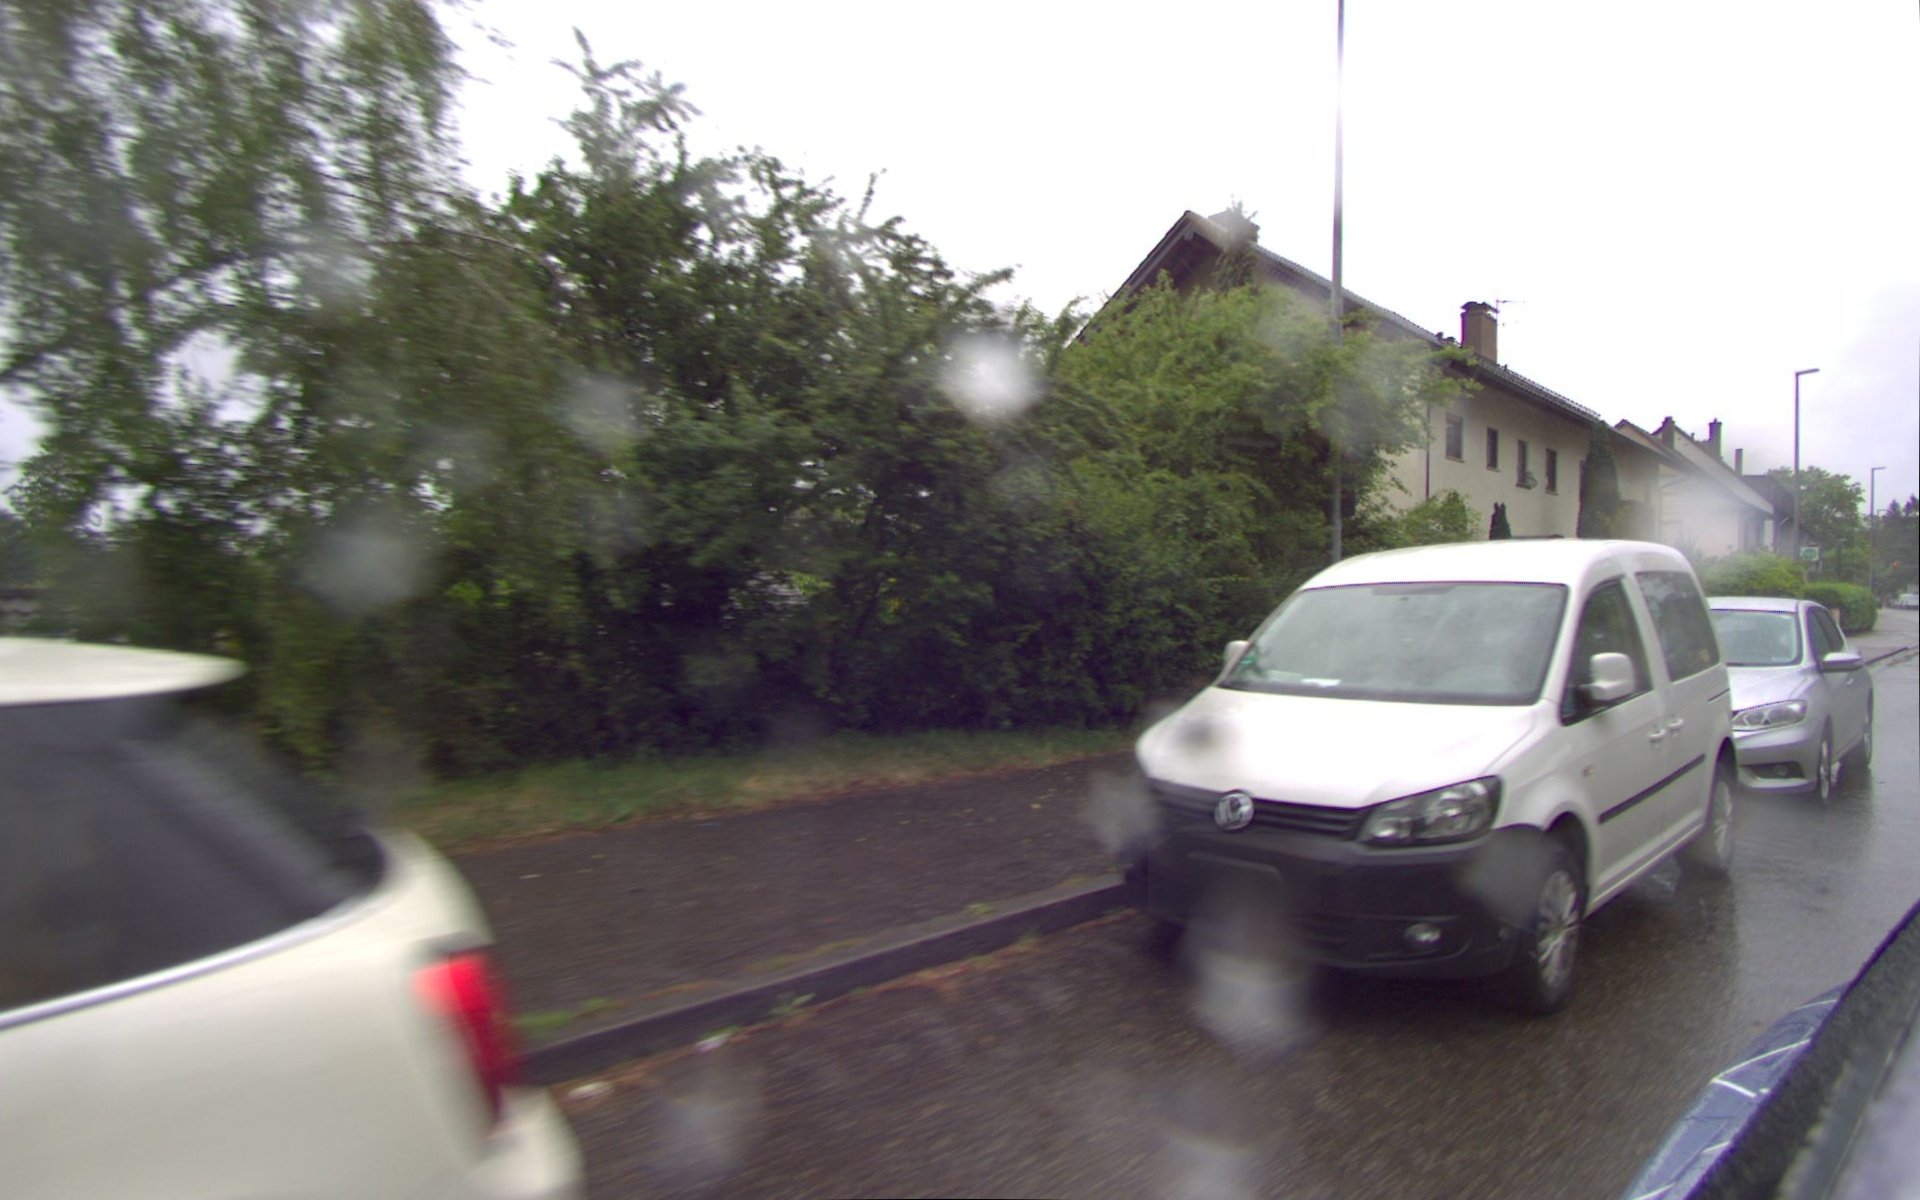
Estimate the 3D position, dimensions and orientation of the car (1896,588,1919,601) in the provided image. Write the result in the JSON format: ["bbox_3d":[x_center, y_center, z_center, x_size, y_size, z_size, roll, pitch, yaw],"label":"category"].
[{"bbox_3d":[157.195,-0.968,167.977,2.153,1.979,4.850,5,4,37],"label":"car"}]

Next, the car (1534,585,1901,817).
[{"bbox_3d":[6.584,0.624,8.607,4.236,1.478,1.791,-1,1,-43],"label":"car"}]

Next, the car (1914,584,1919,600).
[{"bbox_3d":[146.969,-1.157,153.875,2.076,2.508,4.788,5,3,37],"label":"car"}]

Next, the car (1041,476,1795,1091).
[{"bbox_3d":[2.551,0.511,5.063,4.284,1.813,1.788,0,1,-40],"label":"car"}]

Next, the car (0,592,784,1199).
[{"bbox_3d":[-2.359,0.720,0.703,4.129,1.421,1.712,0,1,-40],"label":"car"}]
